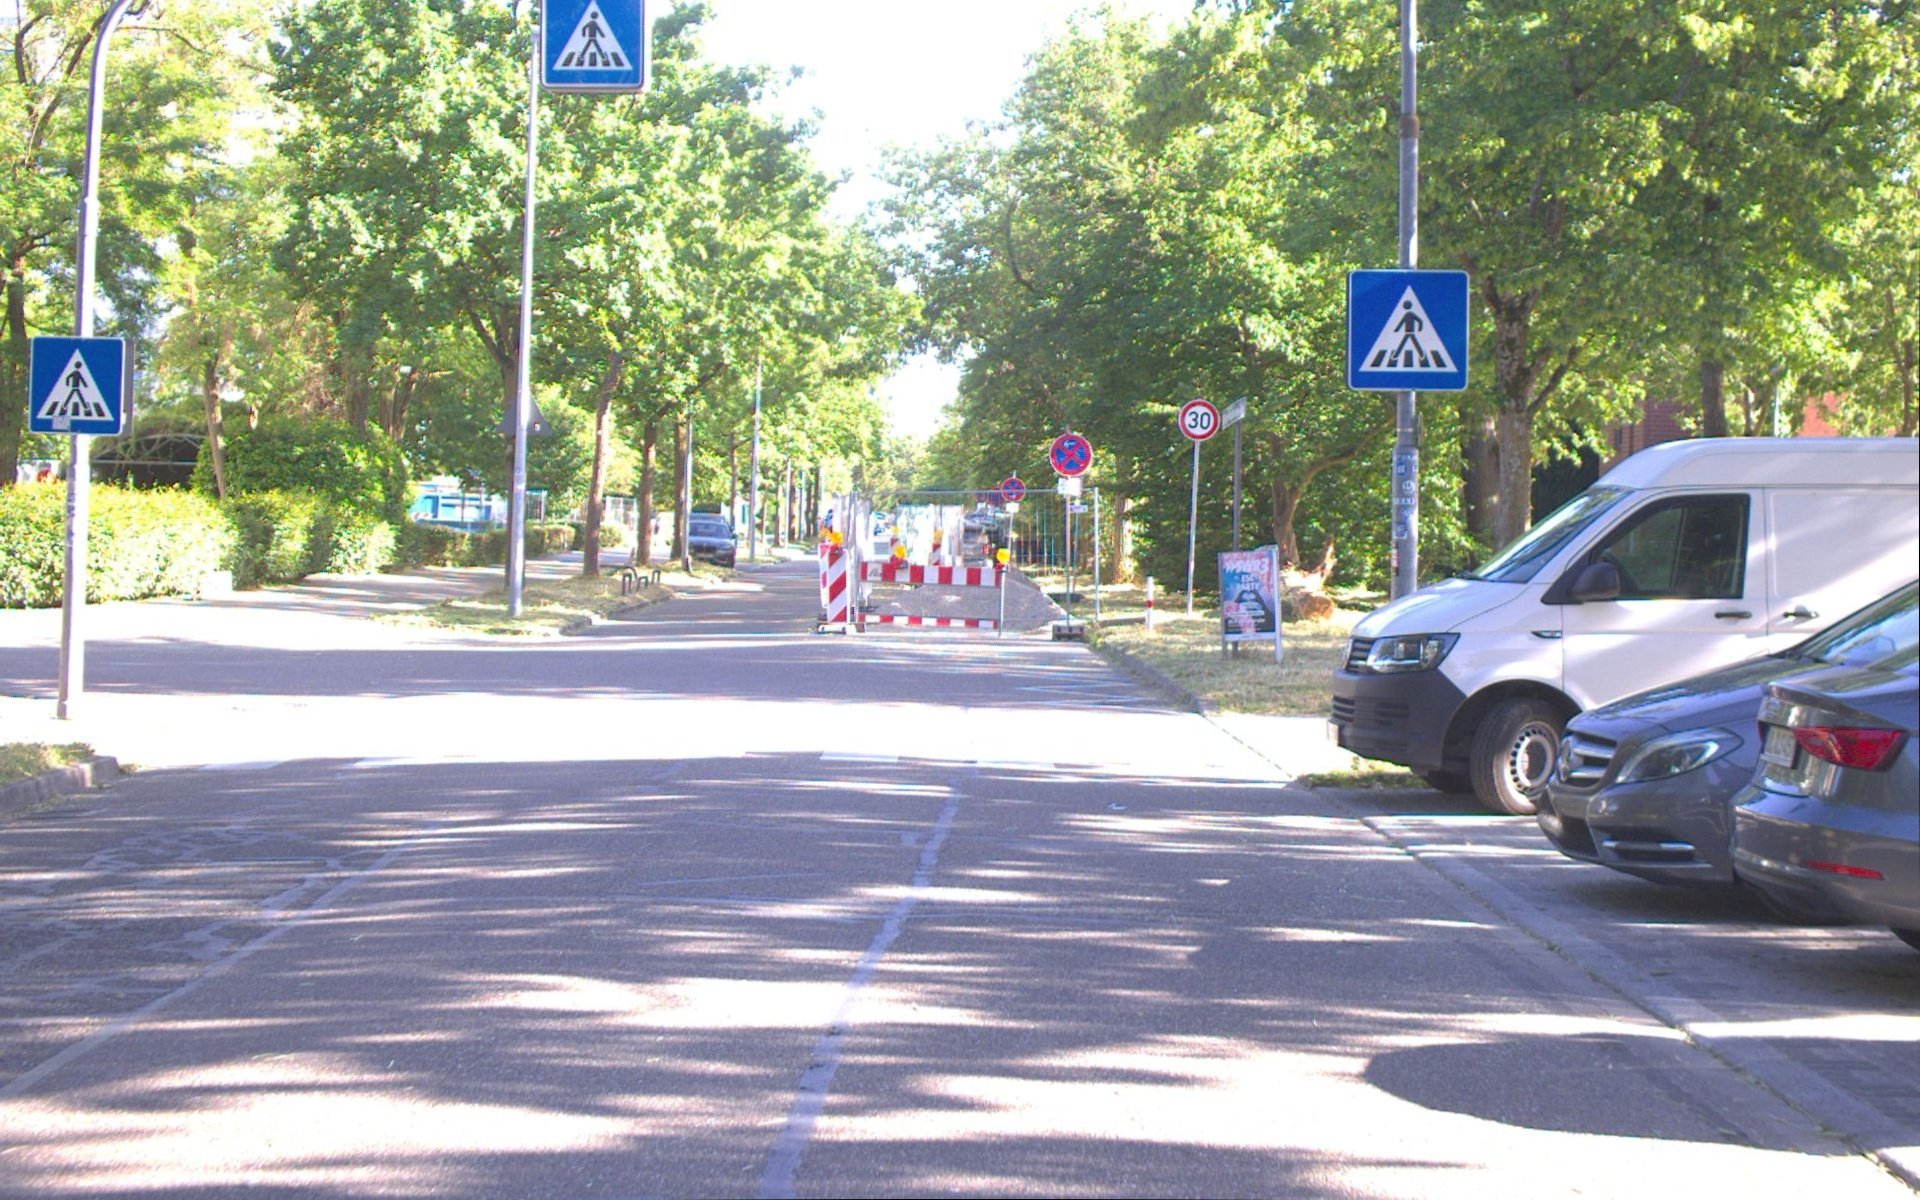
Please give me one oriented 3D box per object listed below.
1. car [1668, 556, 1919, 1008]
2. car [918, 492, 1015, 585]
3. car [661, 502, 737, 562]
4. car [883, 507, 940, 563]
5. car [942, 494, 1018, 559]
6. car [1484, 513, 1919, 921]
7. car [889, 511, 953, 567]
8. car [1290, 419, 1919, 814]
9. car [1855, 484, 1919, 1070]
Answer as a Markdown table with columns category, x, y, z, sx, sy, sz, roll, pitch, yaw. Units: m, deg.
| category | x | y | z | sx | sy | sz | roll | pitch | yaw |
| --- | --- | --- | --- | --- | --- | --- | --- | --- | --- |
| car | 4.661 | 0.613 | 11.970 | 3.987 | 1.428 | 1.901 | 1 | 1 | 1 |
| car | 0.114 | -1.361 | 75.930 | 1.993 | 1.926 | 4.000 | 2 | 1 | -1 |
| car | -7.766 | -2.035 | 102.541 | 1.993 | 1.710 | 4.000 | 2 | 1 | -1 |
| car | -1.800 | -2.382 | 126.010 | 1.993 | 1.962 | 4.000 | 2 | 1 | -1 |
| car | 0.539 | -2.067 | 96.441 | 1.993 | 1.710 | 4.000 | 2 | 1 | -1 |
| car | 4.522 | 0.485 | 14.555 | 4.212 | 1.563 | 1.934 | 2 | 1 | -2 |
| car | -1.273 | -2.008 | 112.197 | 1.993 | 1.710 | 4.000 | 2 | 1 | -1 |
| car | 4.627 | 0.088 | 19.700 | 5.187 | 2.098 | 2.083 | 1 | 1 | -2 |
| car | 4.892 | 0.490 | 9.394 | 4.384 | 1.645 | 1.851 | 0 | 1 | -2 |
